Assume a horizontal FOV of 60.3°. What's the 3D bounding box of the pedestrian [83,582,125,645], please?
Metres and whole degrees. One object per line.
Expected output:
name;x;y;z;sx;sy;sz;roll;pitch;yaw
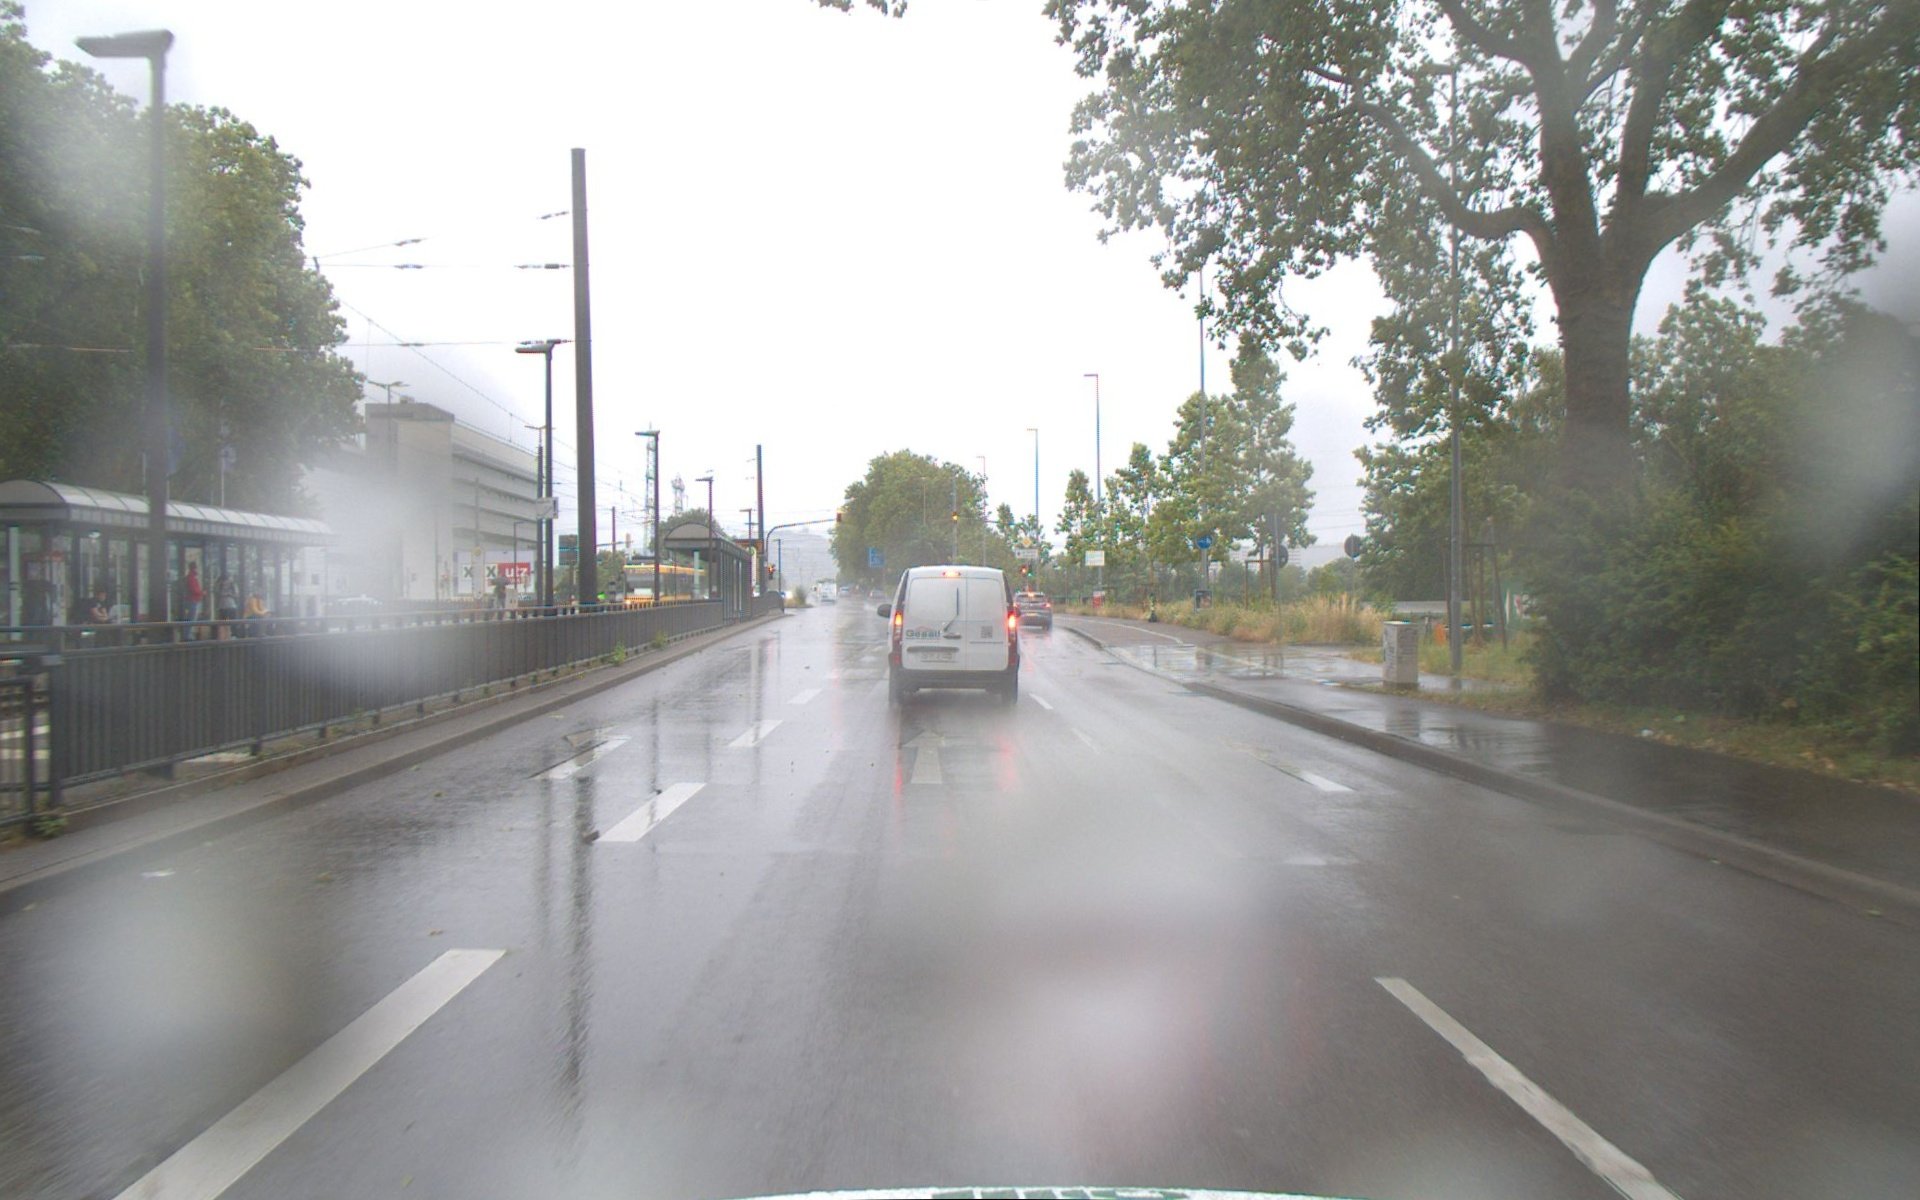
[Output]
pedestrian;-18.044;0.283;34.872;0.483;1.290;0.664;1;0;2

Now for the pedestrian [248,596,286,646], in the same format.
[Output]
pedestrian;-18.705;0.562;44.639;0.629;1.326;0.815;1;0;2

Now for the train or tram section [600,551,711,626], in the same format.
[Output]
train or tram section;-19.264;-0.663;107.050;3.695;4.107;27.073;1;0;-3

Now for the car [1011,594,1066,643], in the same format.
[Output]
car;3.020;0.699;64.566;1.952;1.780;4.000;1;0;1

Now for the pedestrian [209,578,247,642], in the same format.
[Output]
pedestrian;-18.637;0.253;42.126;0.815;1.589;0.667;1;0;-28

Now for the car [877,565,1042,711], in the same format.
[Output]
car;-0.111;0.486;23.022;1.985;1.806;4.270;1;0;-4

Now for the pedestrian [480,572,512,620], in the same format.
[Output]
pedestrian;-20.113;-0.158;71.676;1.066;2.049;1.096;1;0;-3

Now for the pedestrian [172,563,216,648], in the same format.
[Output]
pedestrian;-18.075;0.133;39.048;0.608;1.967;0.815;1;0;2

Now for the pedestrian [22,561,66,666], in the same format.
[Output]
pedestrian;-18.067;0.258;32.630;0.483;2.049;0.582;1;0;-1

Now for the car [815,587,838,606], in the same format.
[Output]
car;-12.963;-0.356;160.526;1.956;1.780;3.993;1;0;-8

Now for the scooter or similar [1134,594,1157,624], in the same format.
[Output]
scooter or similar;7.456;0.353;66.592;0.630;1.216;1.561;-1;0;-4
